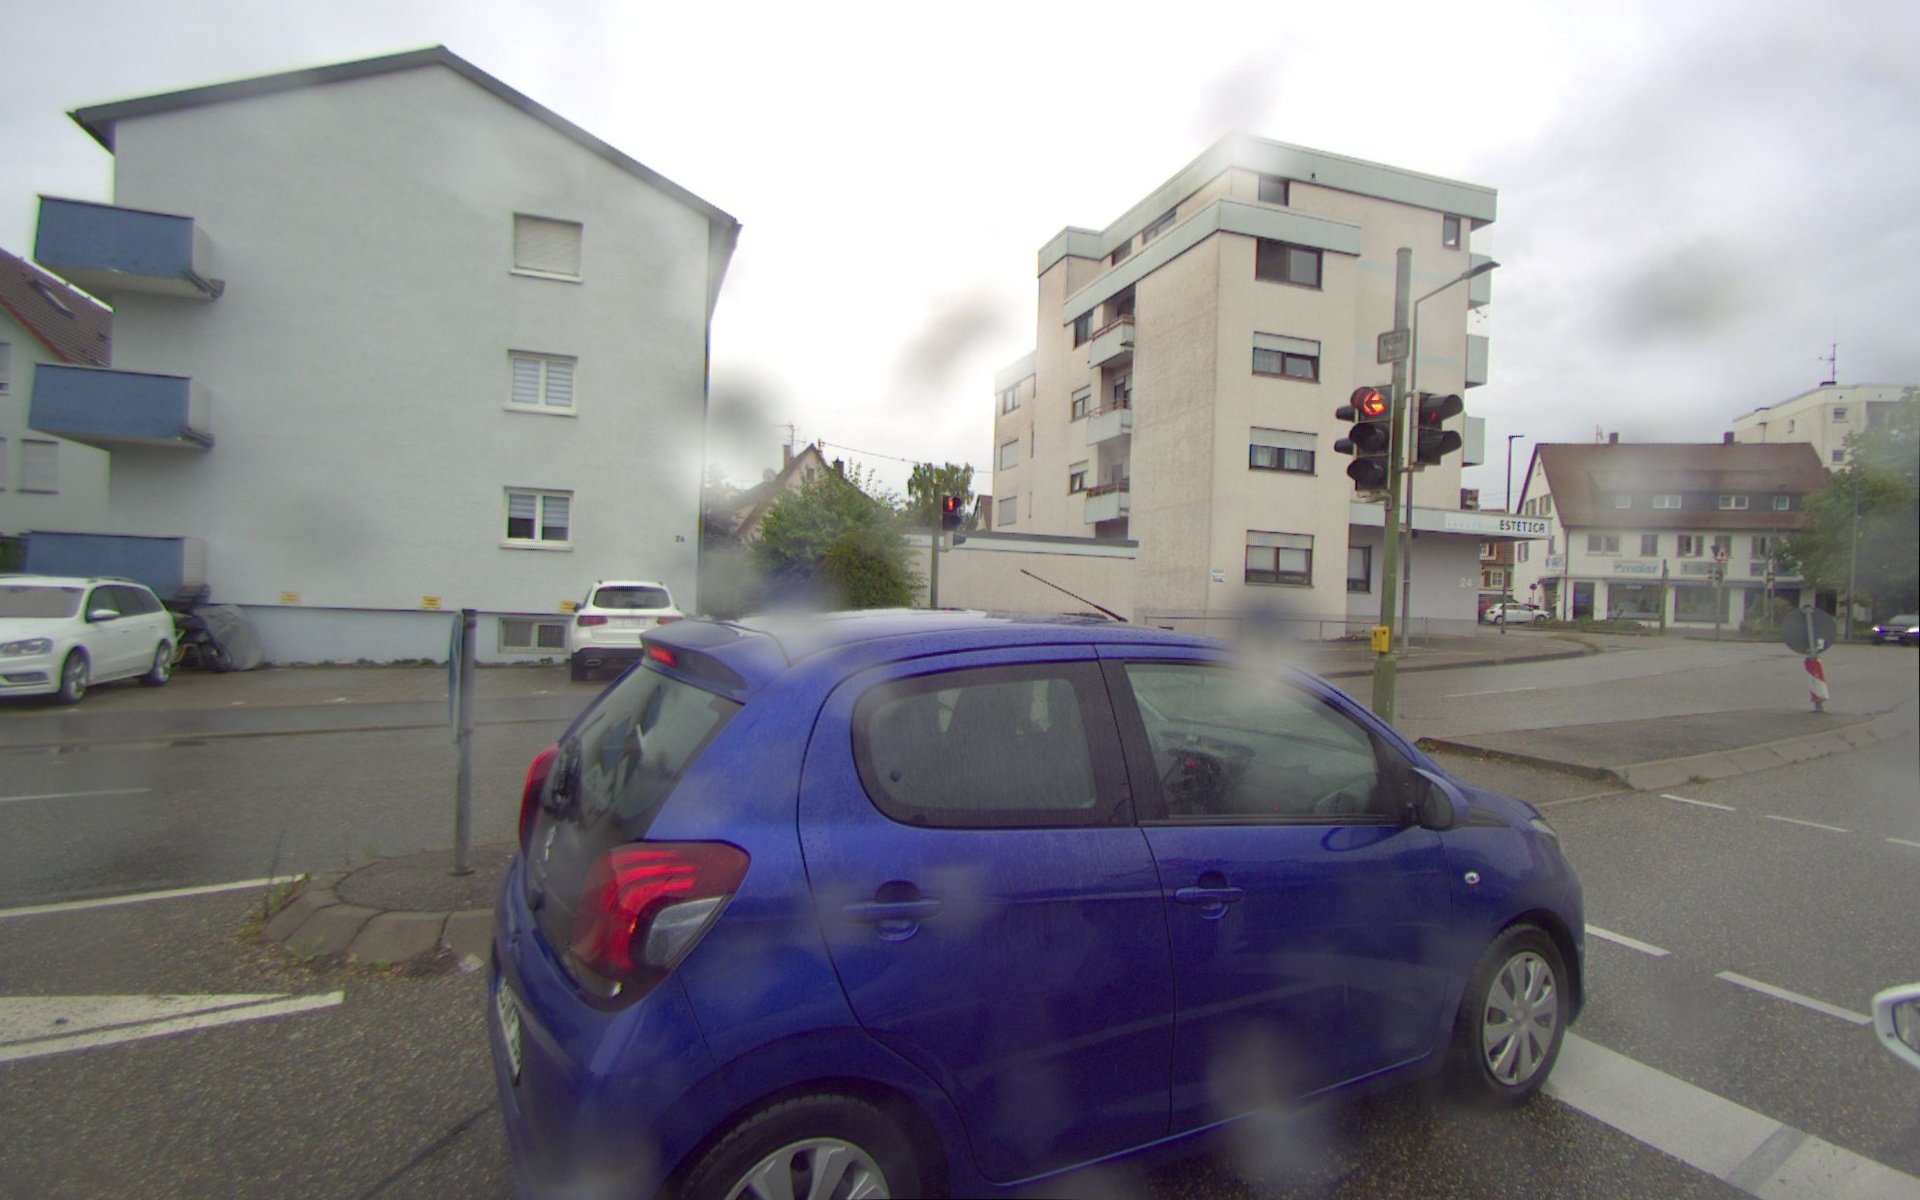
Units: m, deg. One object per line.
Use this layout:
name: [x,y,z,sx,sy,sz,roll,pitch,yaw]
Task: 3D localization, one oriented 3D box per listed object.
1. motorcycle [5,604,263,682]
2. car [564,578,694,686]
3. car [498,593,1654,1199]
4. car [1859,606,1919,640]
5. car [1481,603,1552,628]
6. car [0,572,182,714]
motorcycle: [-13.106,0.638,16.074,0.864,1.115,3.113,2,1,43]
car: [-5.889,0.500,17.824,1.909,1.658,4.446,1,0,-19]
car: [0.421,0.734,3.093,3.231,1.429,1.571,1,1,-30]
car: [42.346,1.029,45.151,3.785,1.439,1.770,1,0,-30]
car: [38.101,1.020,68.833,3.887,1.593,1.873,1,1,17]
car: [-11.355,0.443,12.301,1.878,1.493,4.209,1,0,-24]
